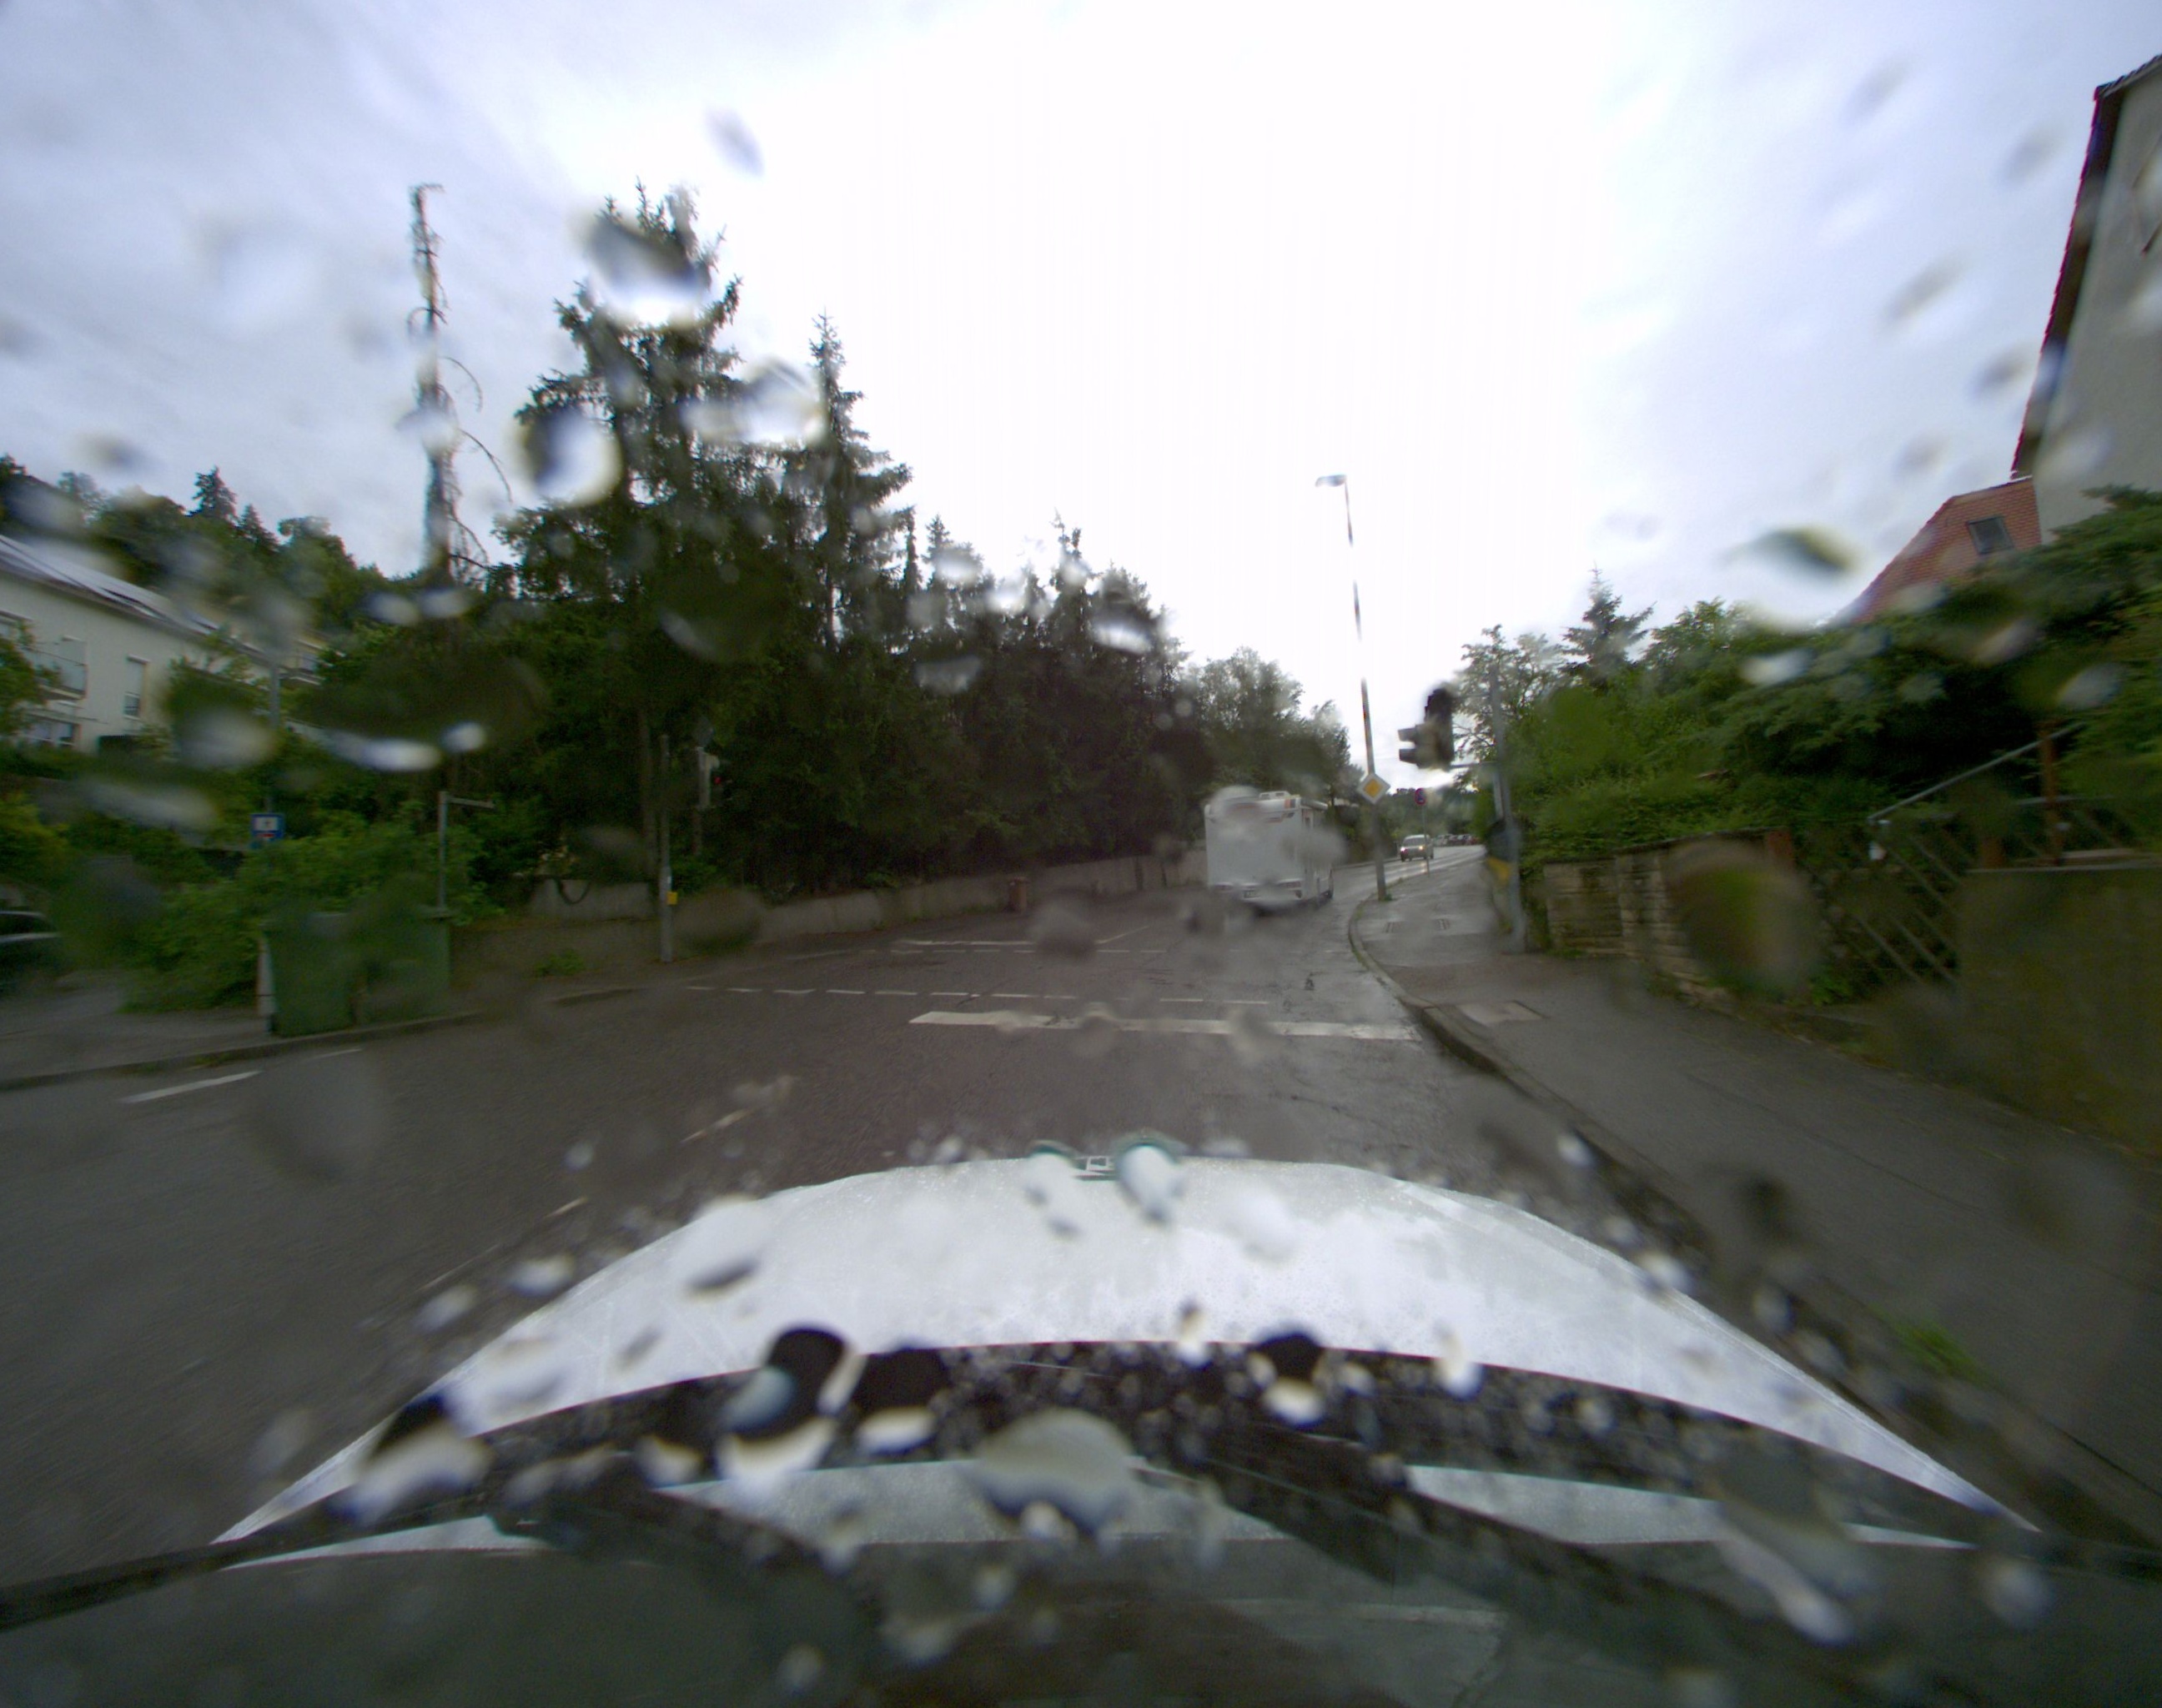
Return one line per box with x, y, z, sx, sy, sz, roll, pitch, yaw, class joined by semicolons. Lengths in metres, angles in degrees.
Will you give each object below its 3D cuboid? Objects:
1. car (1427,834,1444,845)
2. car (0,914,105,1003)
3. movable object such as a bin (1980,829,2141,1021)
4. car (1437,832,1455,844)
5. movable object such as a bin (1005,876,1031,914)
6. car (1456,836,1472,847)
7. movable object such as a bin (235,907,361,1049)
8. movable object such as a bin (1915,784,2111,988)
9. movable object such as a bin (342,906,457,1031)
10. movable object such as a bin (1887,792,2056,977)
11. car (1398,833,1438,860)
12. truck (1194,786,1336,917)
60.444;-2.484;138.782;1.637;1.721;4.009;-1;-1;8;car
-18.357;1.760;12.782;1.600;1.360;4.424;0;-1;-15;car
5.133;0.351;4.295;0.461;0.936;0.484;-2;-2;43;movable object such as a bin
59.593;-2.631;132.938;1.637;1.721;4.009;-1;-1;8;car
-1.680;1.094;21.647;0.495;0.979;0.493;-1;0;24;movable object such as a bin
57.379;-1.858;122.016;1.528;1.327;4.016;1;-1;16;car
-6.942;1.064;7.229;0.618;1.140;0.672;-1;-2;34;movable object such as a bin
6.083;0.228;5.365;0.602;1.245;0.606;-7;-6;35;movable object such as a bin
-6.538;1.067;7.829;0.553;1.088;0.711;-1;-2;34;movable object such as a bin
6.394;0.238;5.889;0.602;1.245;0.518;-7;-6;35;movable object such as a bin
24.514;-0.546;59.201;1.822;1.755;4.449;-3;0;33;car
4.969;-0.046;21.062;2.493;2.817;6.234;-3;-1;22;truck
